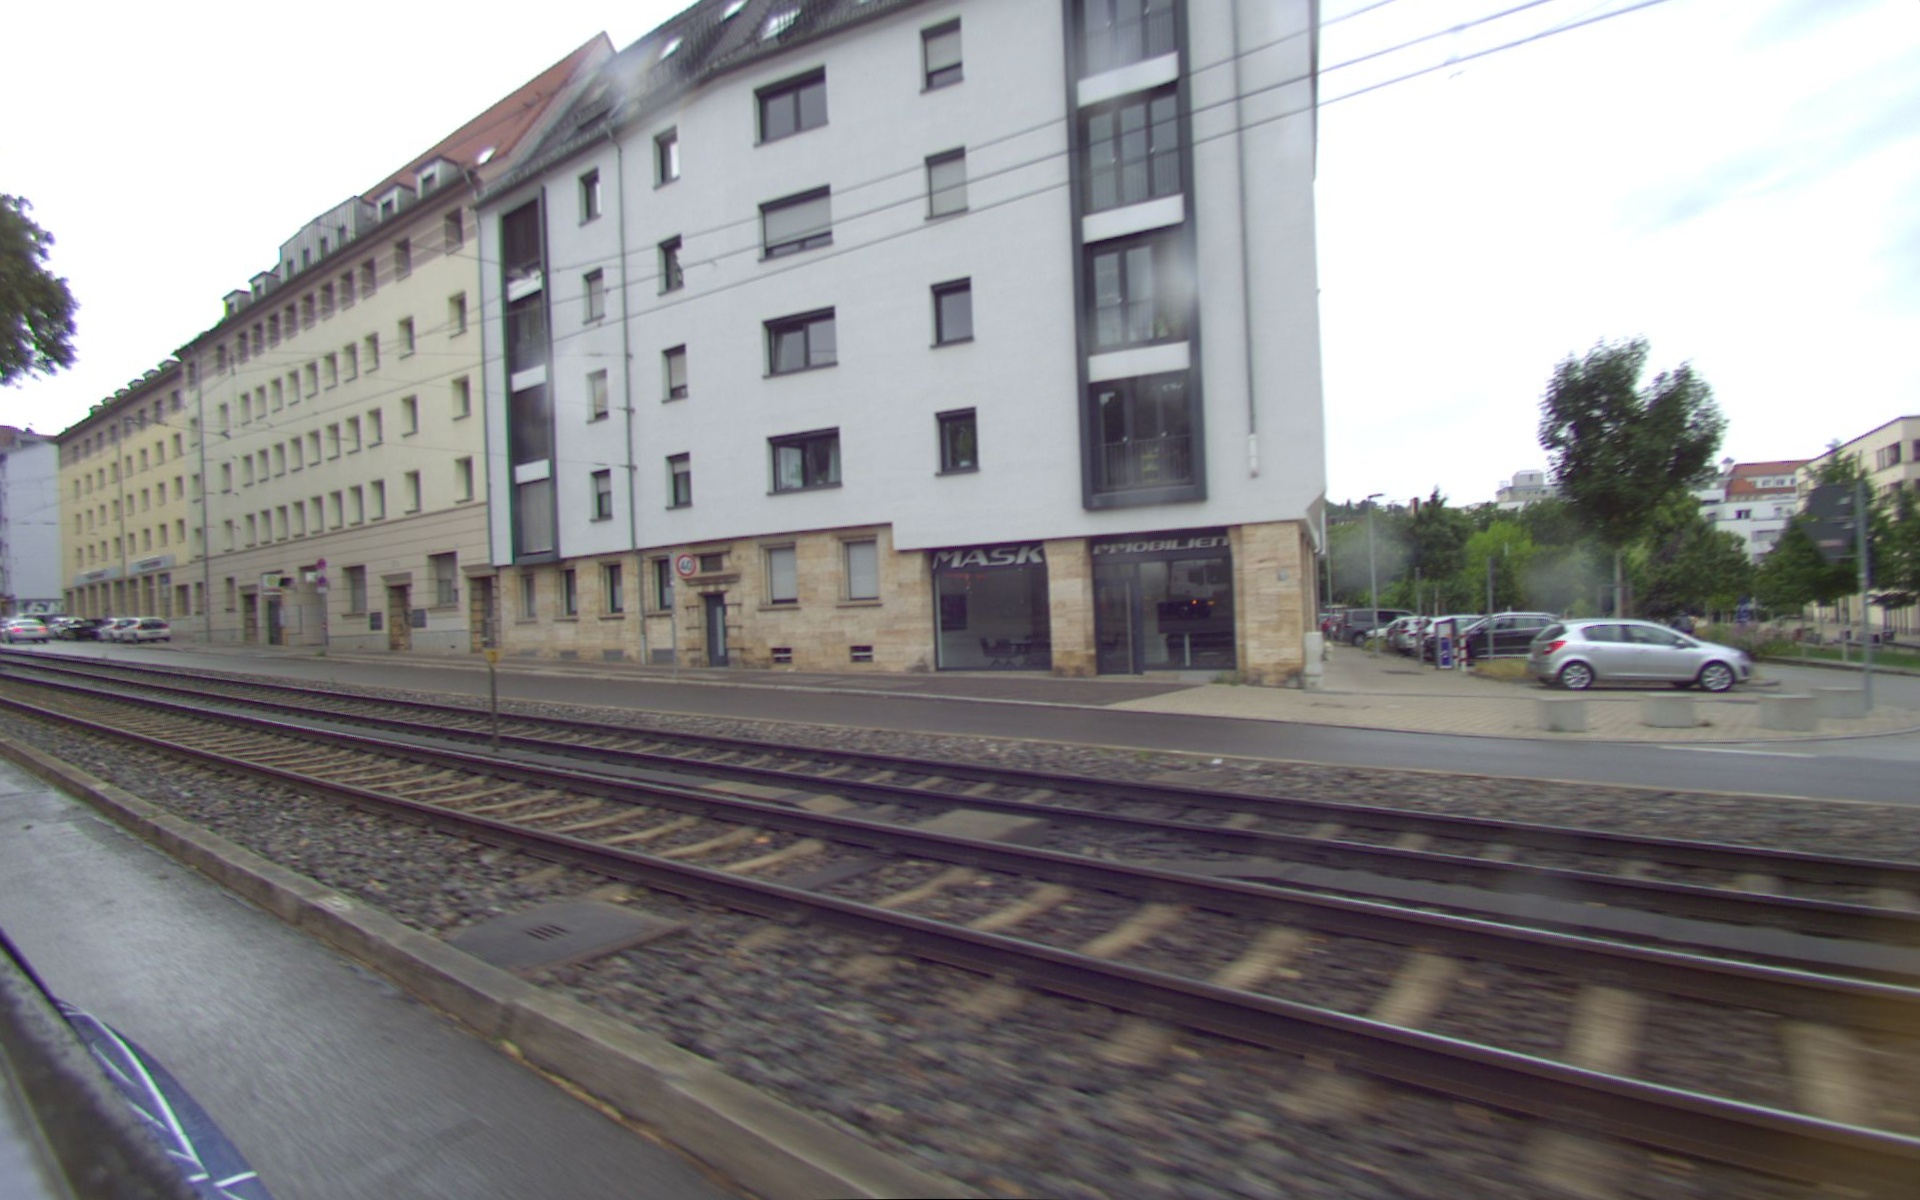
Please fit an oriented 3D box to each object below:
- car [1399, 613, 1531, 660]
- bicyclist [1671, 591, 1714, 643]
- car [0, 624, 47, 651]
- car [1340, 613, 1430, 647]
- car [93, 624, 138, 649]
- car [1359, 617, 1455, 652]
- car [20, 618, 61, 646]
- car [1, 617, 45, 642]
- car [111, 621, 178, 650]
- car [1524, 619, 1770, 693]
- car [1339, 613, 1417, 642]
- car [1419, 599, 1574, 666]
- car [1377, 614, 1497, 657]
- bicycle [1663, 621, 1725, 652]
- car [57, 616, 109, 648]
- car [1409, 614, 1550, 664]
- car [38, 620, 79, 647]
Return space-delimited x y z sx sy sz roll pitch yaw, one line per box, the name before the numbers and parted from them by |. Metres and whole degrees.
car | 18.203 1.306 36.681 3.967 1.630 1.929 -1 -2 18
bicyclist | 25.720 0.596 35.533 0.889 1.818 0.788 -1 -1 1
car | -57.219 2.253 61.539 5.009 1.548 1.671 -1 -1 37
car | 21.107 1.503 50.419 3.967 1.630 1.929 -1 -2 18
car | -50.943 2.181 61.024 3.184 1.495 1.311 -1 -1 35
car | 21.148 1.630 48.066 3.968 1.630 1.928 -1 -2 19
car | -64.942 2.207 71.468 4.036 1.897 1.538 -1 -1 39
car | -69.727 2.162 75.282 3.584 1.822 1.707 -1 -1 35
car | -47.212 2.026 58.560 3.991 1.554 2.007 -1 -1 35
car | 14.148 1.120 21.080 3.880 1.431 1.593 0 -1 15
car | 23.952 1.590 58.157 3.967 1.630 1.929 -1 -2 18
car | 16.803 1.024 31.906 3.967 2.029 1.929 -1 -2 18
car | 18.537 1.379 39.497 3.967 1.630 1.929 -1 -2 18
bicycle | 25.709 1.253 35.489 0.725 1.036 2.011 -1 -1 2
car | -56.562 2.045 65.220 4.292 1.975 1.708 -1 -1 38
car | 17.599 1.321 34.502 3.967 1.630 1.929 -1 -2 18
car | -60.944 2.231 68.422 3.398 1.766 1.361 -1 -1 35
